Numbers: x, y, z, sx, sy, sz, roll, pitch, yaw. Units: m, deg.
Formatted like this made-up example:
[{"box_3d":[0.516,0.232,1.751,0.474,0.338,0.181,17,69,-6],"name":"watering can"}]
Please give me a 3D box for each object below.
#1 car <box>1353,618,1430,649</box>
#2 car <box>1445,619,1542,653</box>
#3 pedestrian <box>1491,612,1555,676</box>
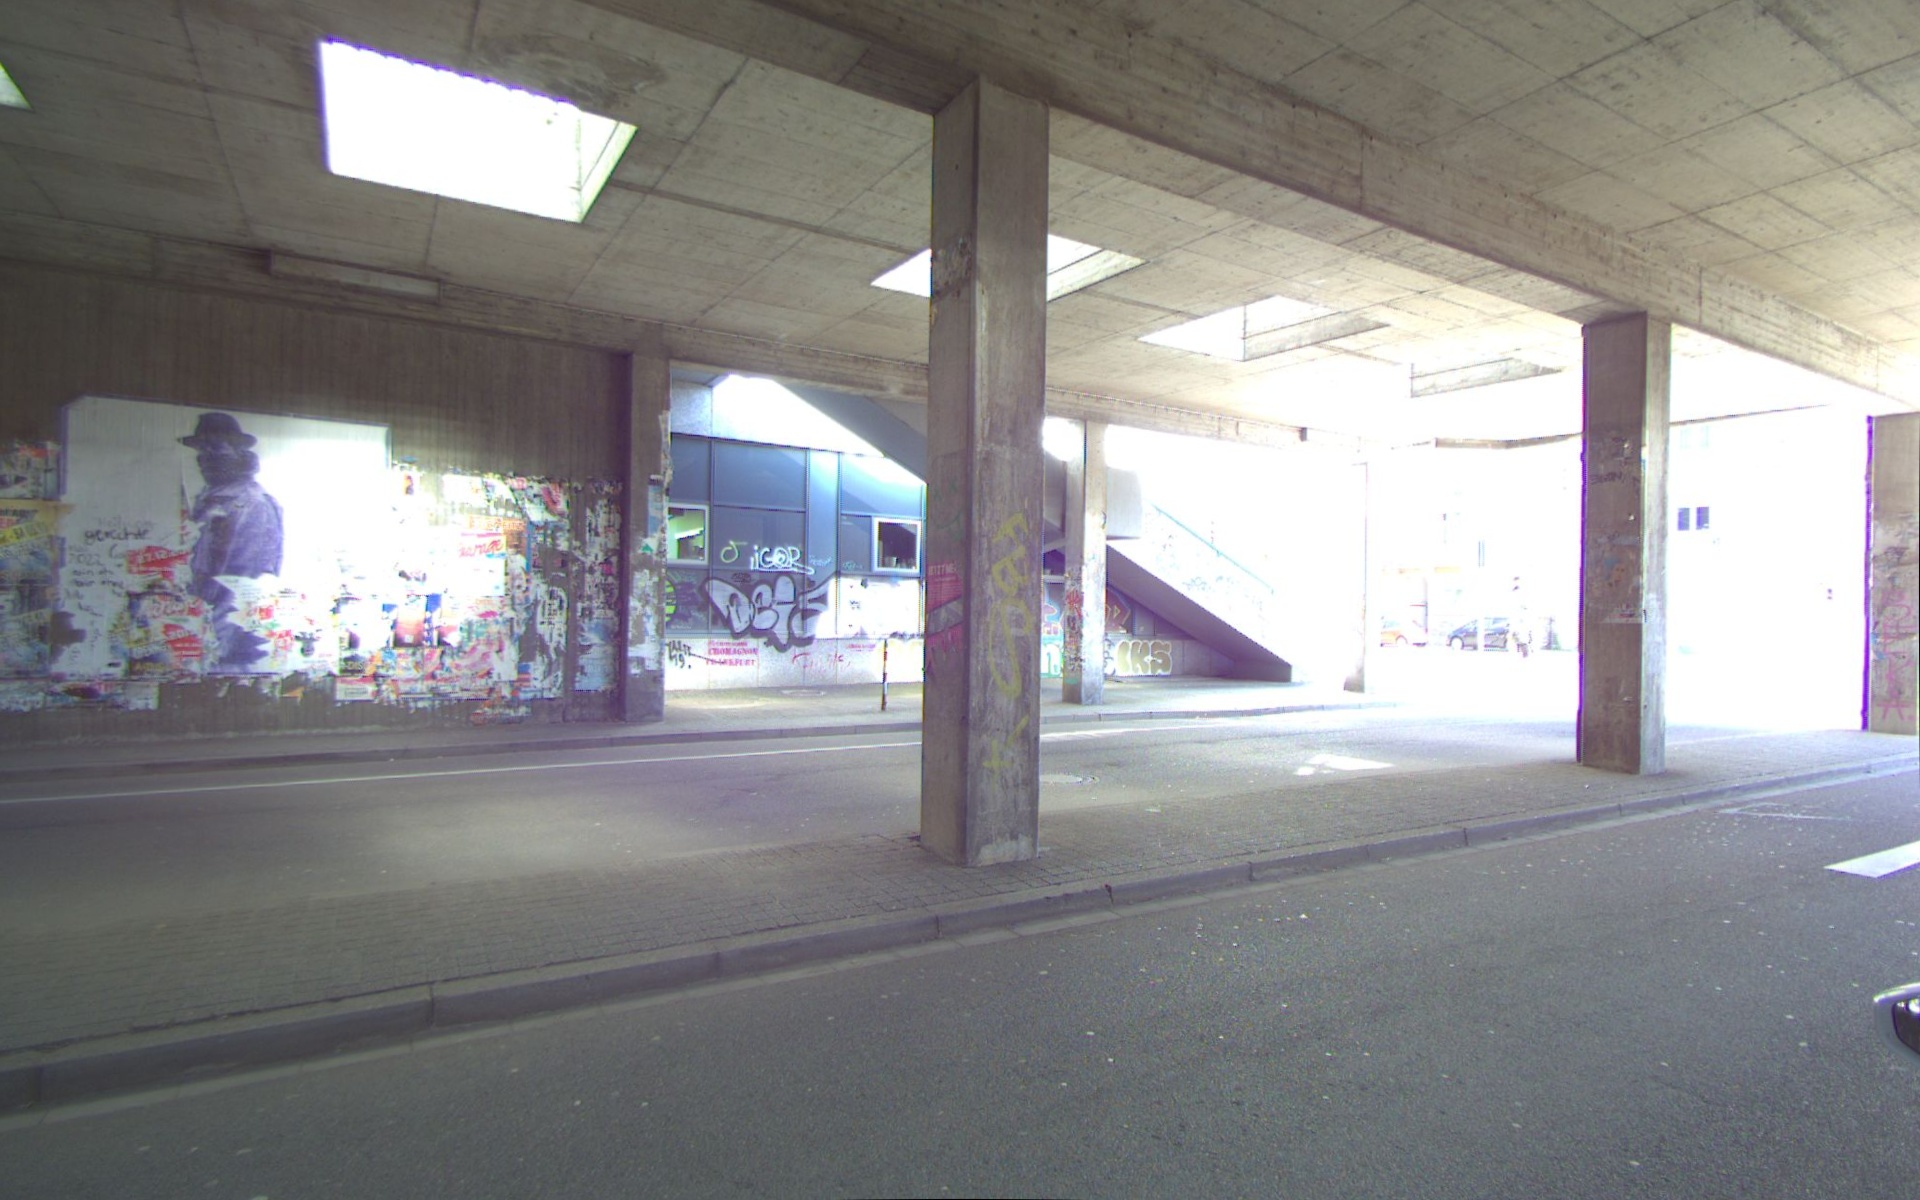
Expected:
[{"box_3d":[22.476,1.718,52.461,1.543,1.526,3.518,1,-1,-29],"name":"car"},{"box_3d":[25.335,1.670,47.831,1.732,1.528,3.735,1,-1,-31],"name":"car"},{"box_3d":[15.861,1.230,28.333,1.123,1.760,1.111,1,-1,-17],"name":"pedestrian"}]
